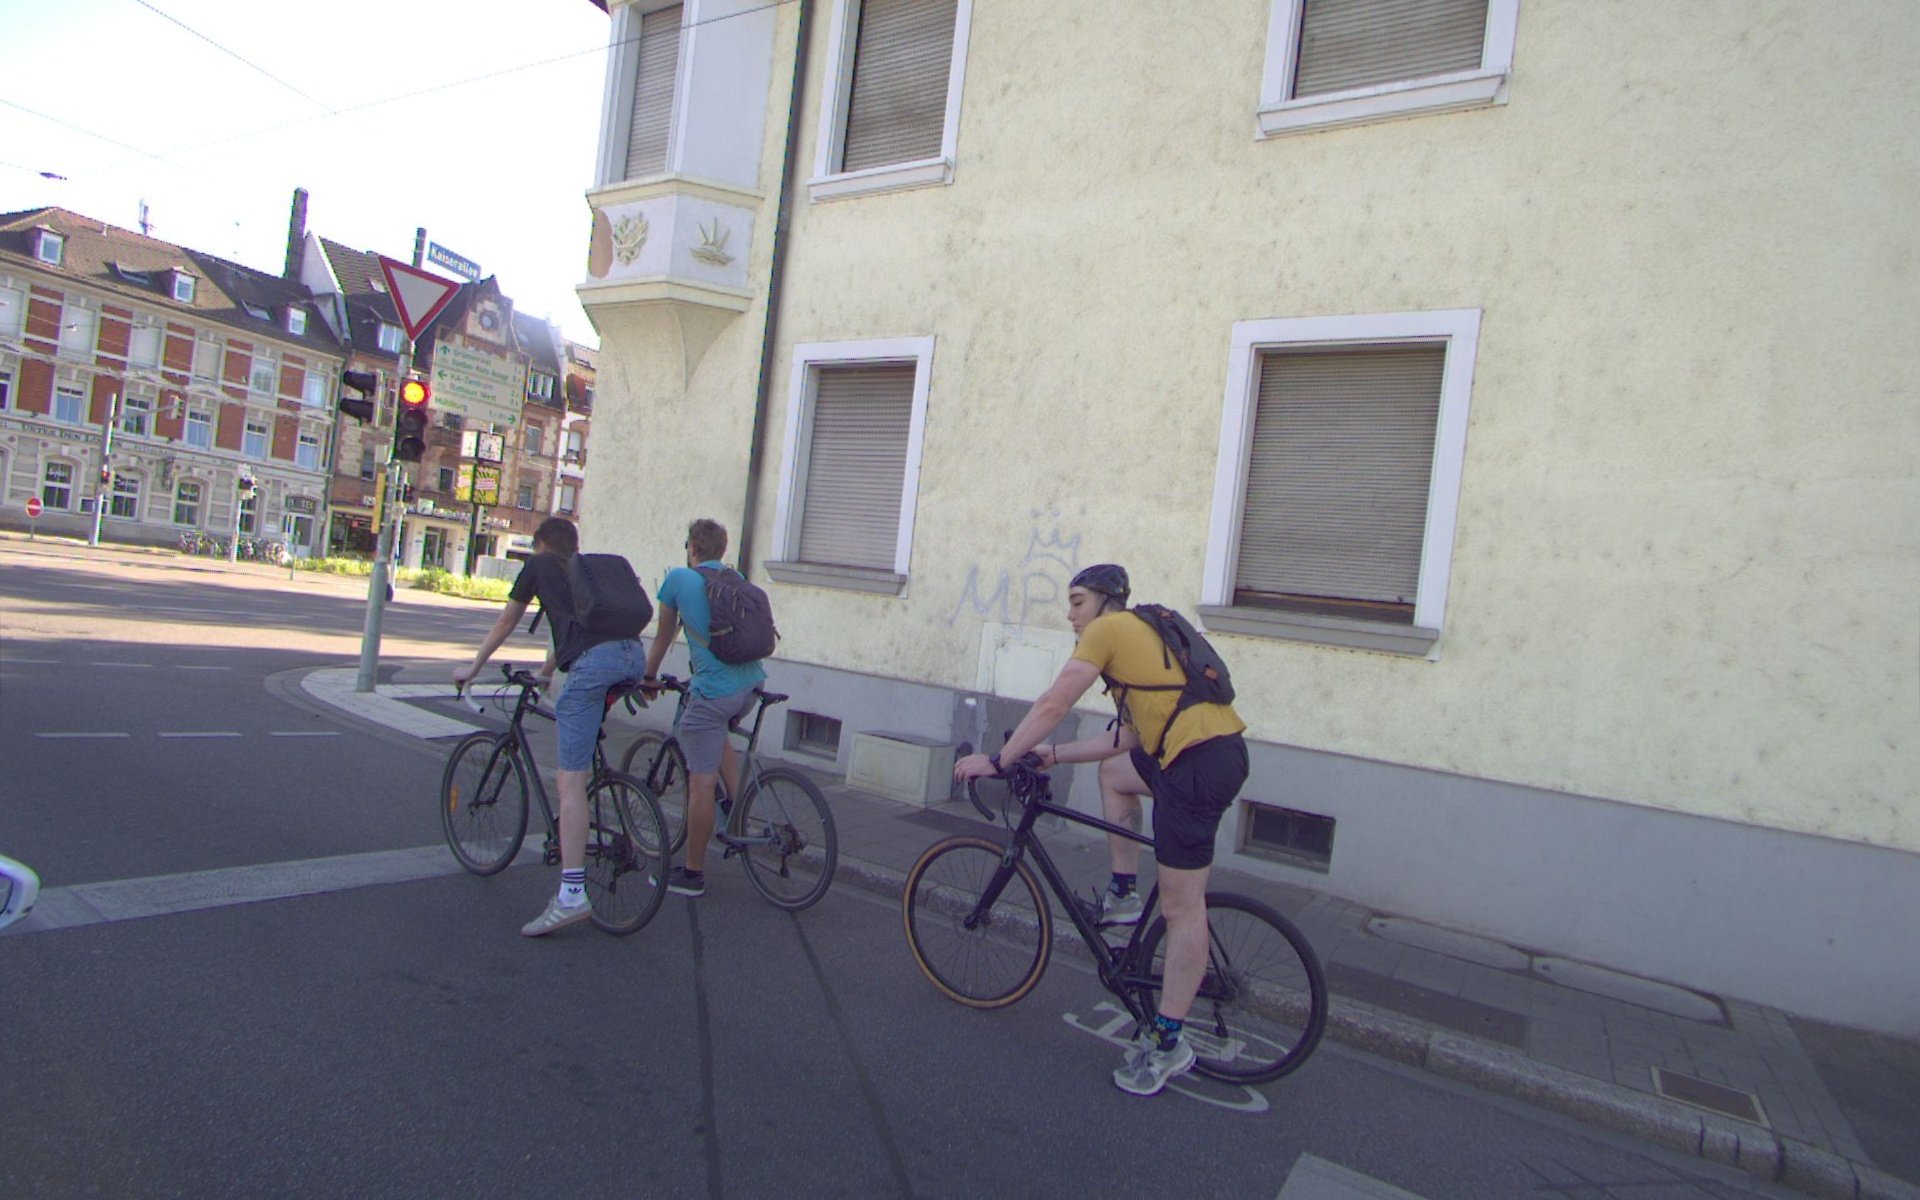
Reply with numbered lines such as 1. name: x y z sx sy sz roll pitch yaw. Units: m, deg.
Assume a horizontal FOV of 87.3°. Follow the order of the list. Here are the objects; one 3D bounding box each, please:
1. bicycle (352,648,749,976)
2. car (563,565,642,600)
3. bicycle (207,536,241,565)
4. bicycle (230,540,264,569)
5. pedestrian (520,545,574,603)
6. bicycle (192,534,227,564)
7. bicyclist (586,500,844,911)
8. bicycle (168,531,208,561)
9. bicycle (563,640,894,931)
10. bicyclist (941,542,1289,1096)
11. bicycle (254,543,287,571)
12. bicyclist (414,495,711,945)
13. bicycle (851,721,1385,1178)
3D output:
1. bicycle: -1.926 0.856 4.608 1.897 1.023 0.645 7 0 34
2. car: -23.185 -1.120 65.334 2.116 1.660 4.340 7 -1 31
3. bicycle: -34.224 -2.305 46.772 2.140 1.157 0.618 7 0 37
4. bicycle: -33.691 -2.158 47.523 2.140 1.157 0.618 7 0 37
5. pedestrian: -16.579 -1.036 40.392 1.285 2.068 1.321 7 0 31
6. bicycle: -34.559 -2.353 46.294 2.140 1.157 0.618 7 0 37
7. bicyclist: -1.282 0.501 5.263 0.961 1.917 0.602 6 -1 34
8. bicycle: -35.073 -2.443 45.692 2.140 1.157 0.806 7 0 37
9. bicycle: -1.266 0.888 5.298 1.784 1.130 0.519 7 0 34
10. bicyclist: 0.576 0.718 3.745 0.939 1.743 0.582 7 0 32
11. bicycle: -33.126 -2.065 48.328 2.102 1.150 0.609 7 0 37
12. bicyclist: -1.815 0.474 4.562 1.083 1.775 0.562 7 0 34
13. bicycle: 0.540 1.149 3.784 1.780 1.101 0.611 7 0 32
